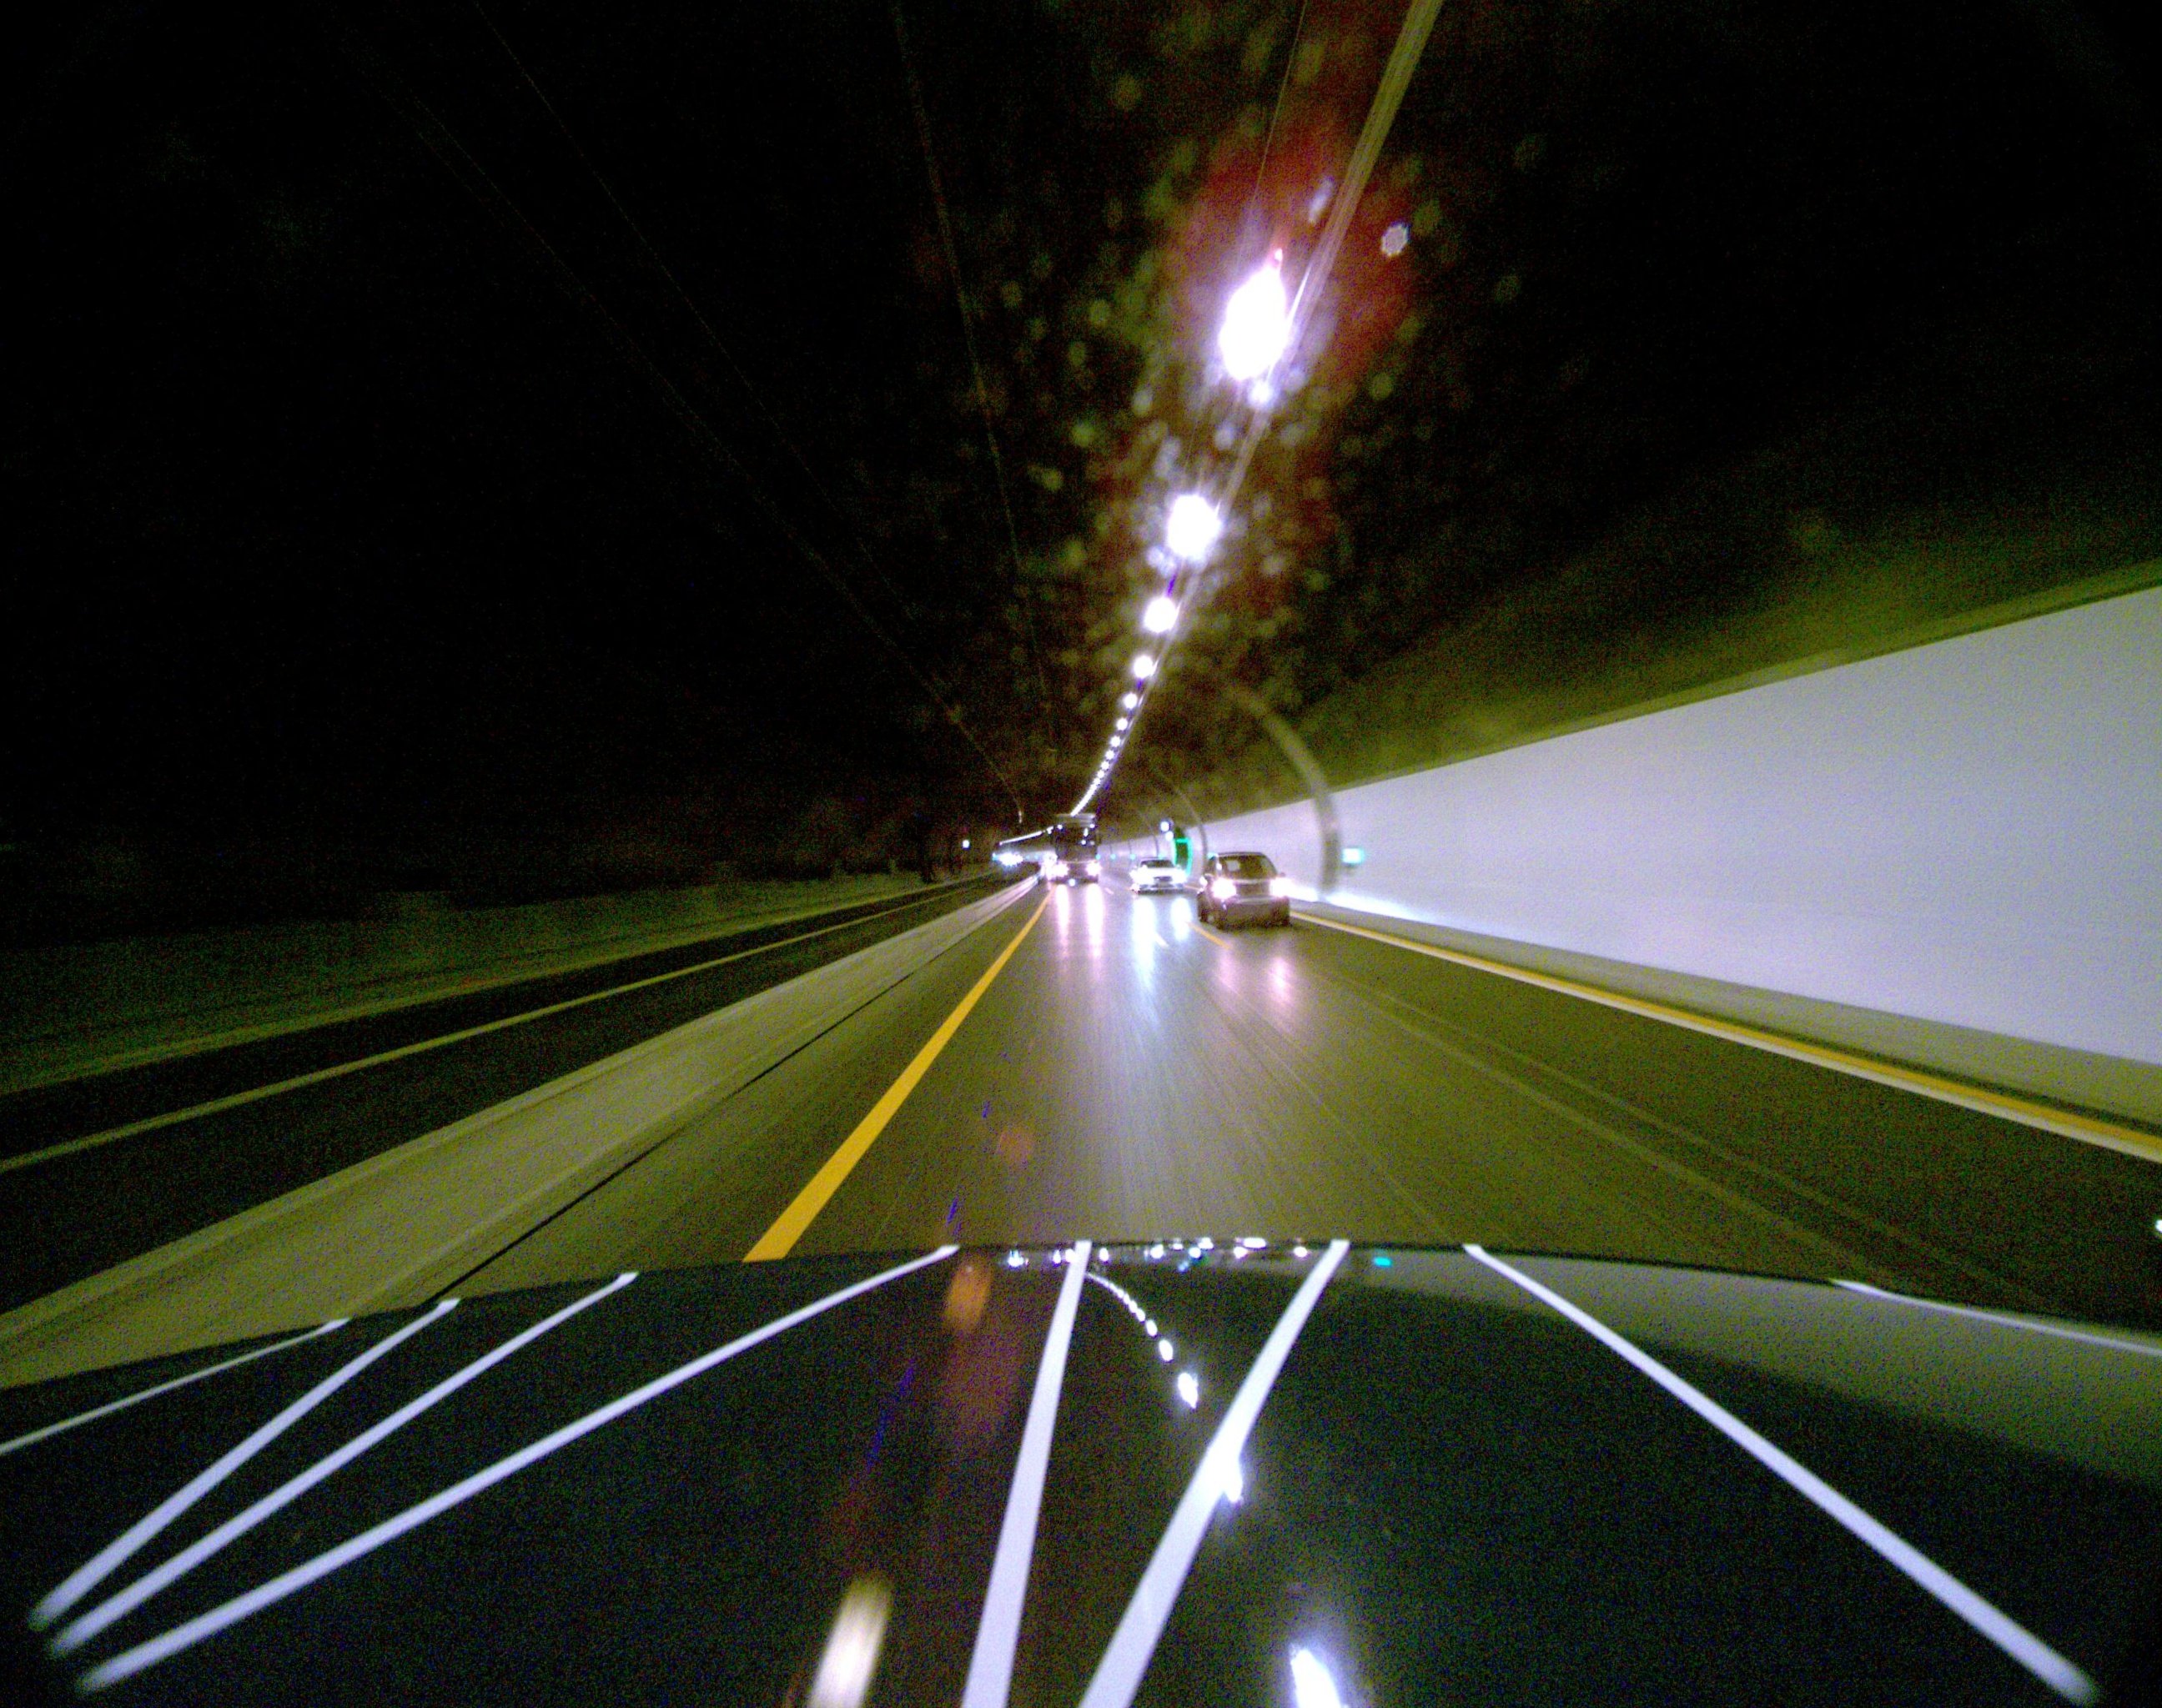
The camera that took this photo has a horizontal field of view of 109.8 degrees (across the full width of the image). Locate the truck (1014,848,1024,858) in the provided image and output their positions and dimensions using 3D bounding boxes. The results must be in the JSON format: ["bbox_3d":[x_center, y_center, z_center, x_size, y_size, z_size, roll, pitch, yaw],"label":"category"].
[{"bbox_3d":[-19.010,-0.277,233.947,2.611,2.723,6.392,-2,0,-9],"label":"truck"}]

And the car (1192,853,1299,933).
[{"bbox_3d":[3.411,0.765,16.178,1.531,1.508,2.651,-2,0,-3],"label":"car"}]

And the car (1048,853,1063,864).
[{"bbox_3d":[-3.822,0.622,112.189,1.999,1.524,3.998,-2,0,-5],"label":"car"}]

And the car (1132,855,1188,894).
[{"bbox_3d":[3.147,0.772,31.043,1.909,1.412,4.061,-2,0,1],"label":"car"}]

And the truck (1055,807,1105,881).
[{"bbox_3d":[-0.181,-0.573,47.610,2.742,4.127,8.099,-2,0,-1],"label":"truck"}]
